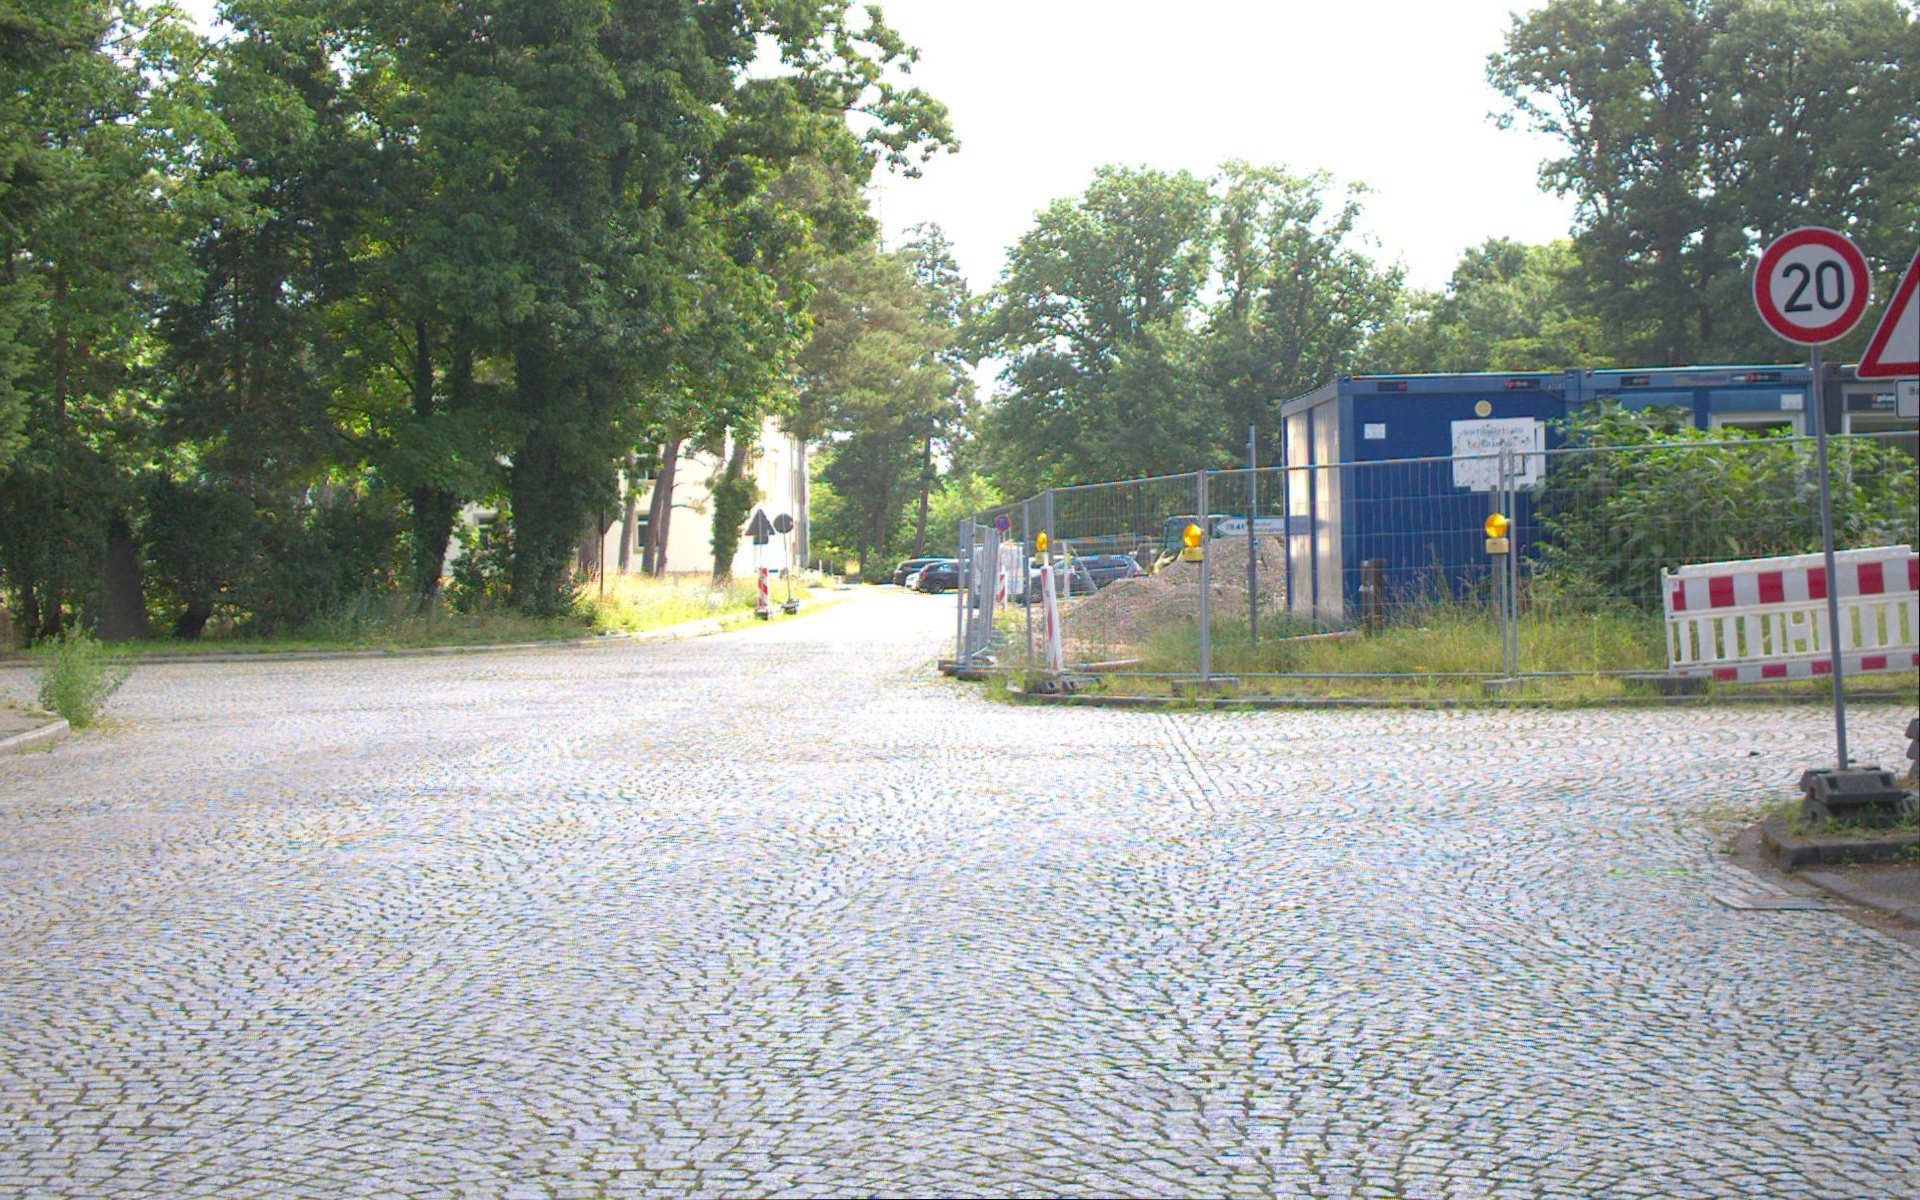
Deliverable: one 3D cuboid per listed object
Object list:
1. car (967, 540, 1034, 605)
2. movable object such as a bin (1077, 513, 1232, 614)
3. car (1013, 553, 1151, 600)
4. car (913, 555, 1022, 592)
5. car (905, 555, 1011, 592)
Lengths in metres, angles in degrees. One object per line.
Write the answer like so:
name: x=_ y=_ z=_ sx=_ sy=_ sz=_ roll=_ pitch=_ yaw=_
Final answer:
car: x=1.266 y=-0.866 z=108.210 sx=1.993 sy=2.007 sz=4.091 roll=-1 pitch=0 yaw=-1
movable object such as a bin: x=5.151 y=-0.969 z=90.228 sx=2.132 sy=2.584 sz=4.783 roll=0 pitch=1 yaw=30
car: x=4.105 y=-0.794 z=115.304 sx=4.404 sy=1.505 sz=1.999 roll=0 pitch=1 yaw=9
car: x=0.314 y=-1.202 z=156.273 sx=4.779 sy=1.635 sz=2.000 roll=-1 pitch=0 yaw=-5
car: x=-0.110 y=-1.236 z=159.382 sx=4.779 sy=1.635 sz=2.000 roll=-1 pitch=0 yaw=-5
